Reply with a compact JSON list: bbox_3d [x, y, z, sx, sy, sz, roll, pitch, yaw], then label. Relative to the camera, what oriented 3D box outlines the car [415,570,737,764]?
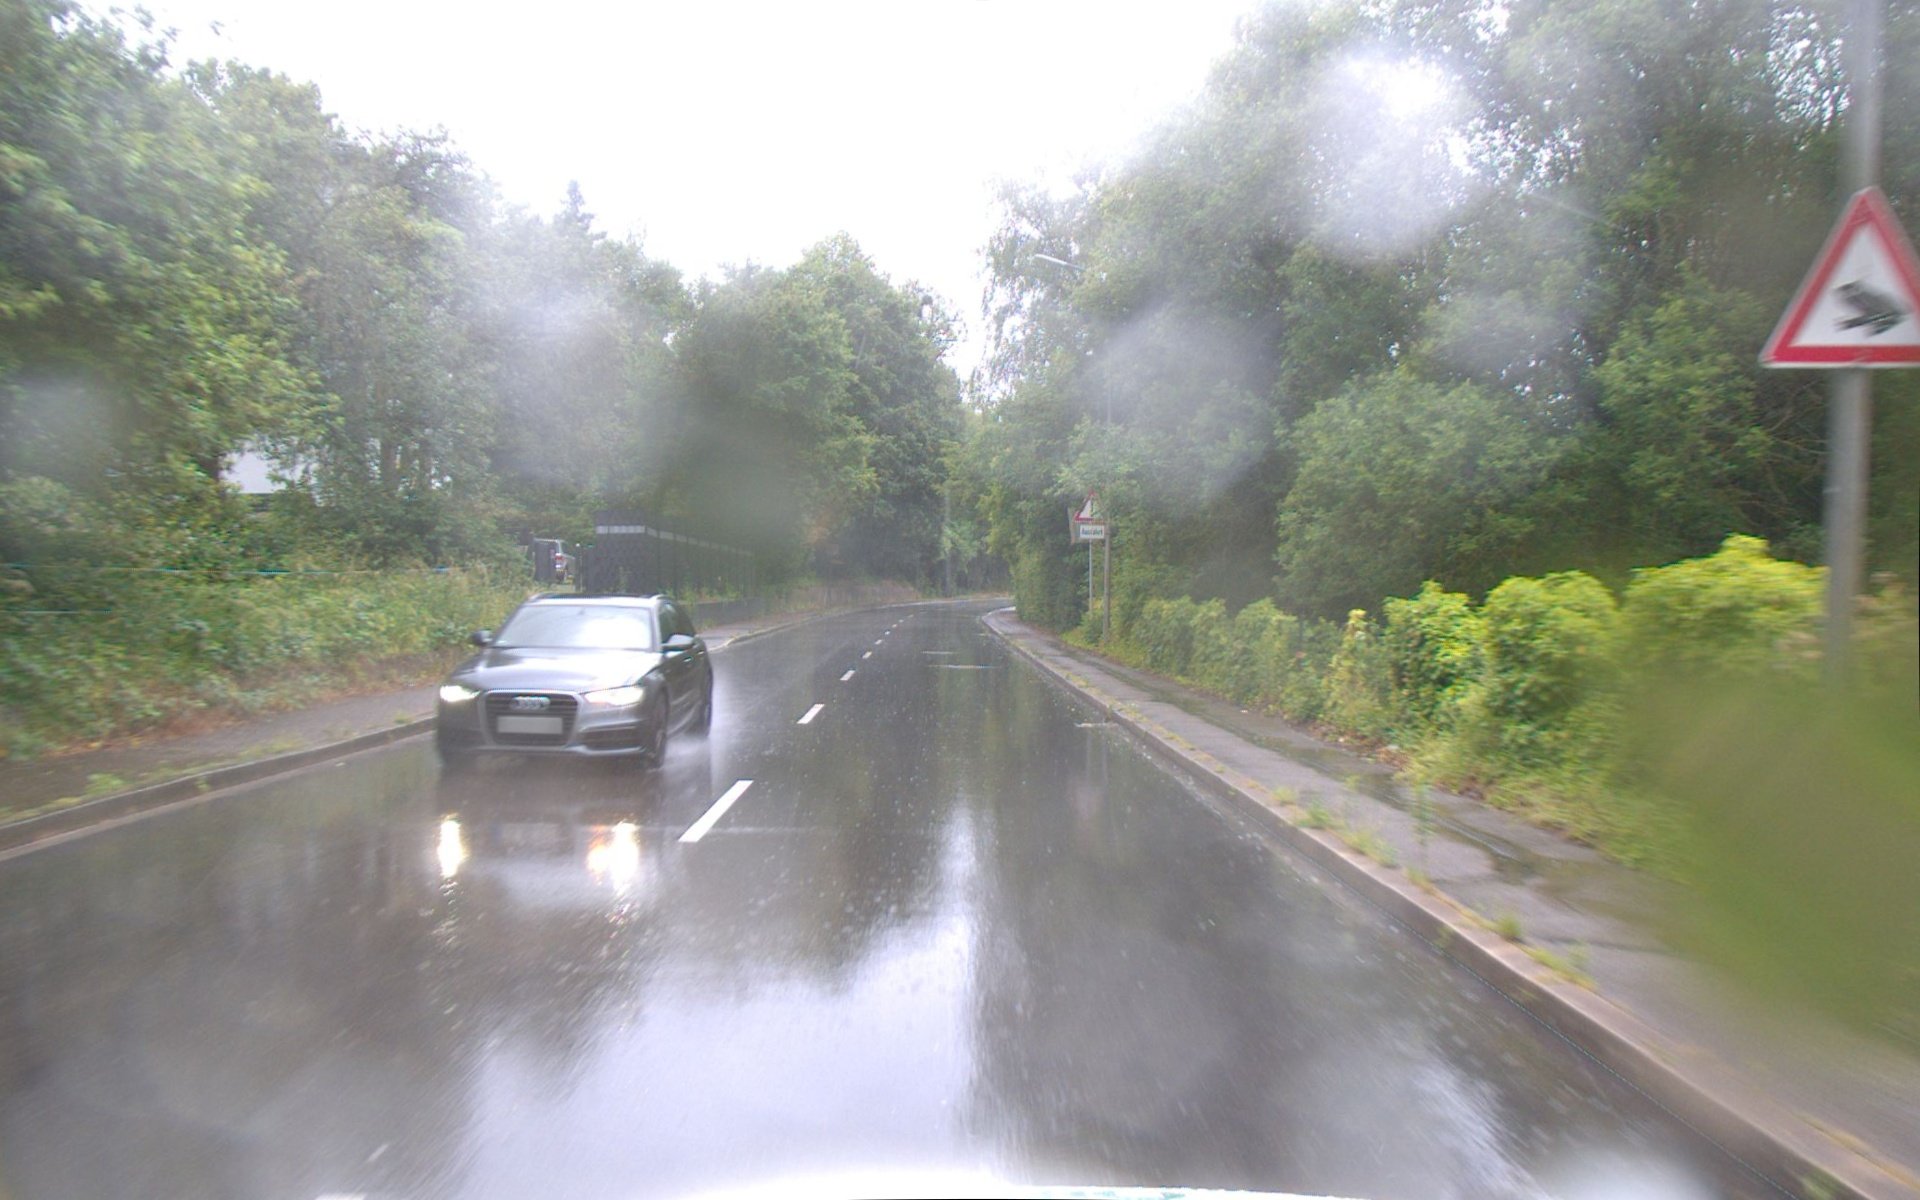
[{"bbox_3d":[-3.318,0.490,15.220,1.953,1.479,4.427,1,1,-1],"label":"car"}]
